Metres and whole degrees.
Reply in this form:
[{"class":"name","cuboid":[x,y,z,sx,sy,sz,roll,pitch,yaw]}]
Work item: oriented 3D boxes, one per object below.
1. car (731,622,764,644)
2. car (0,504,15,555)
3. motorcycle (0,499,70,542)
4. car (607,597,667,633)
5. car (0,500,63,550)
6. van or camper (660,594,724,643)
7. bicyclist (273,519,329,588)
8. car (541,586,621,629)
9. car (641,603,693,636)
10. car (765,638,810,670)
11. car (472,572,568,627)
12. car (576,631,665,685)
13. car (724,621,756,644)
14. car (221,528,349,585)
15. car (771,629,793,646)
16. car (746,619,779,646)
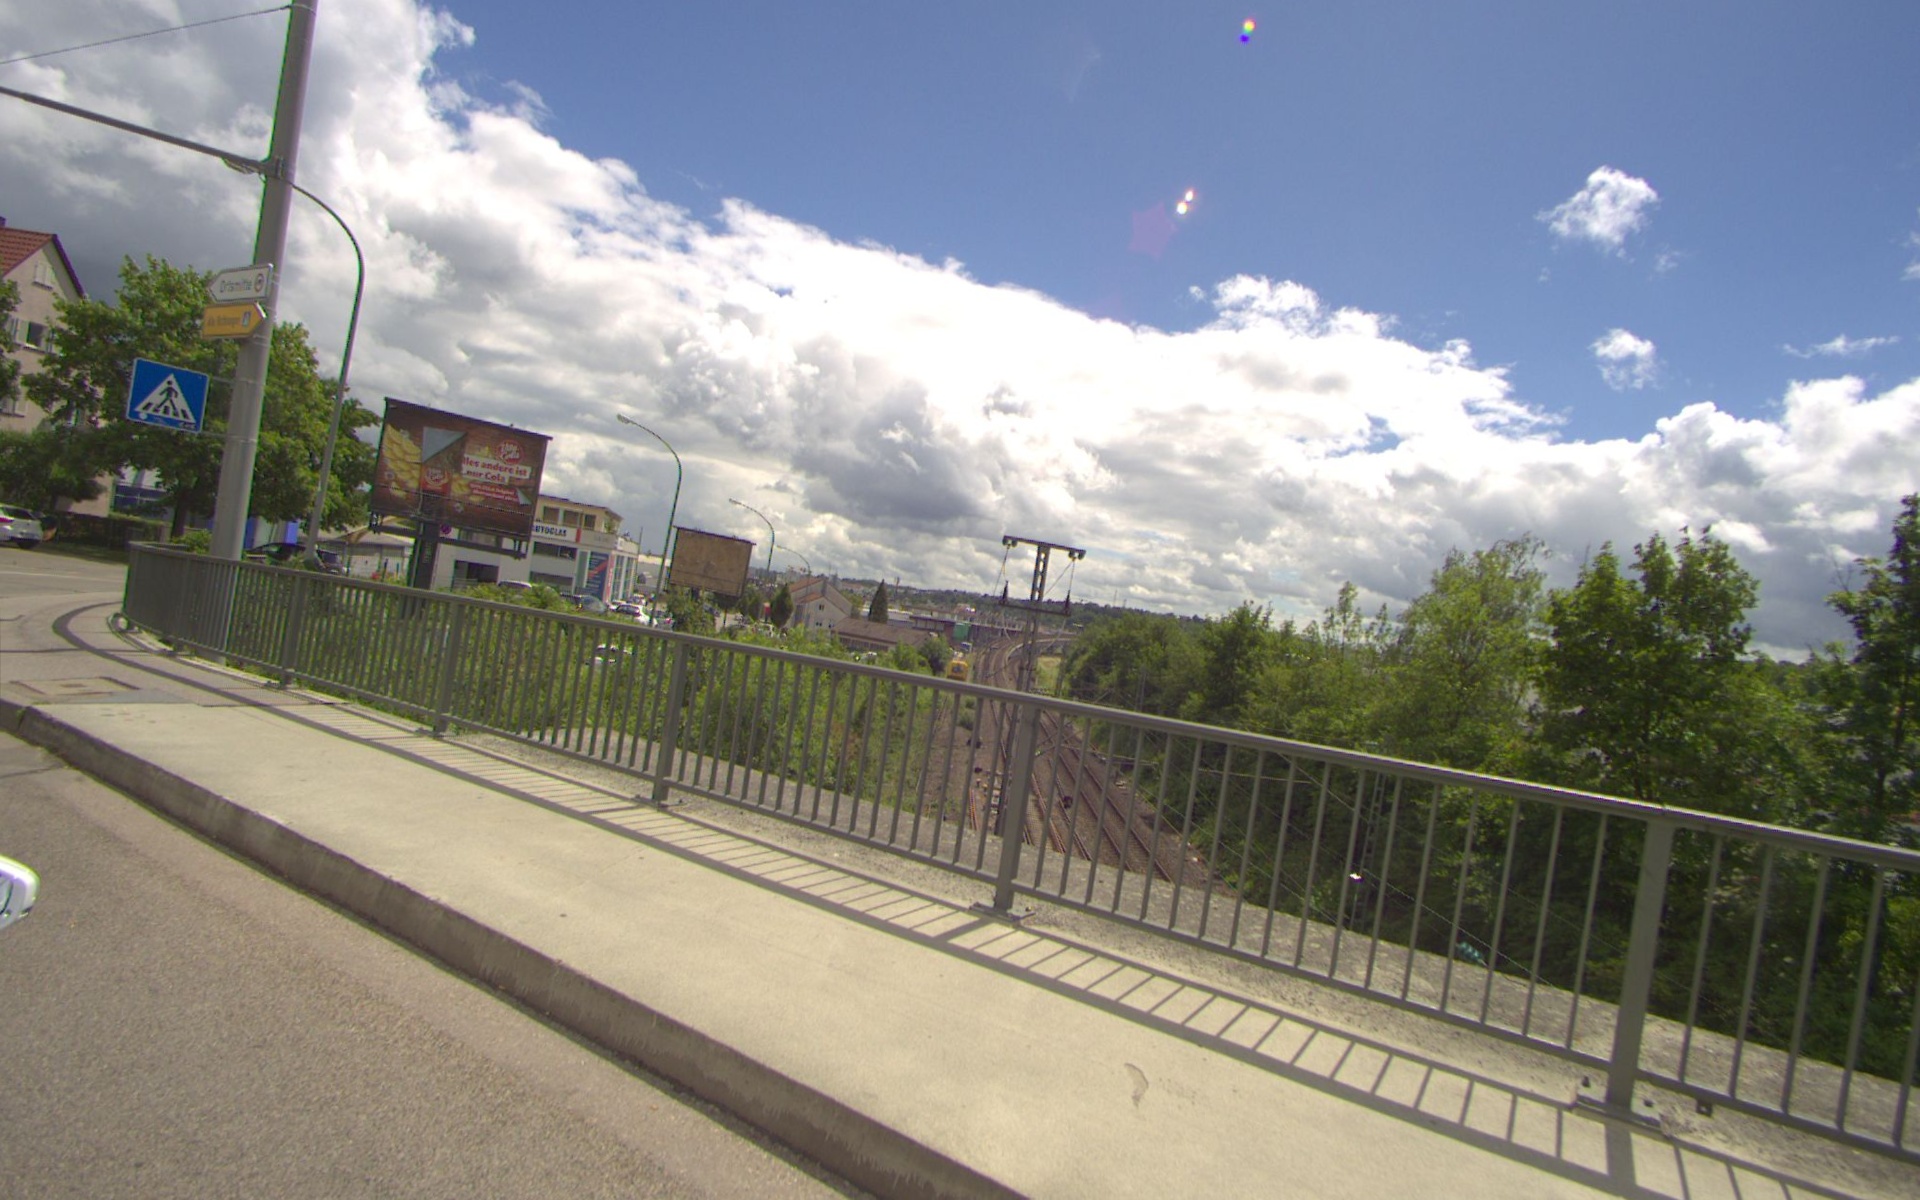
[{"class":"car","cuboid":[-17.490,2.755,83.100,1.847,1.524,4.004,7,-3,-2]},{"class":"car","cuboid":[-29.742,-2.430,28.406,4.069,1.408,2.002,10,-2,1]},{"class":"motorcycle","cuboid":[-37.504,-3.197,40.643,0.904,1.329,2.238,10,-3,0]},{"class":"car","cuboid":[-17.036,0.835,53.237,1.680,1.495,3.961,10,-3,0]},{"class":"car","cuboid":[-33.581,-2.798,34.397,3.862,1.419,1.877,9,-2,-2]},{"class":"van or camper","cuboid":[-17.139,1.247,64.722,2.092,2.612,5.925,8,-3,1]},{"class":"bicyclist","cuboid":[-19.185,-1.335,29.301,0.674,1.846,1.082,7,-2,1]},{"class":"car","cuboid":[-17.323,0.382,46.175,1.680,1.502,4.578,10,-3,1]},{"class":"car","cuboid":[-16.984,1.147,58.399,1.680,1.526,3.700,10,-3,1]},{"class":"car","cuboid":[-10.201,3.219,59.842,1.680,1.526,4.534,10,-3,1]},{"class":"car","cuboid":[-17.710,0.032,40.713,1.680,1.695,4.313,10,-3,1]},{"class":"car","cuboid":[-11.766,2.009,35.076,1.680,1.526,3.512,10,-3,1]},{"class":"car","cuboid":[-17.155,2.556,78.557,1.766,1.522,2.909,7,-3,-2]},{"class":"car","cuboid":[-32.588,-2.090,48.656,4.629,1.733,2.004,10,-4,0]},{"class":"car","cuboid":[-20.691,4.372,117.031,1.964,1.635,4.003,7,-3,-3]},{"class":"car","cuboid":[-18.442,3.079,94.147,1.964,2.035,4.923,9,-3,-2]}]
